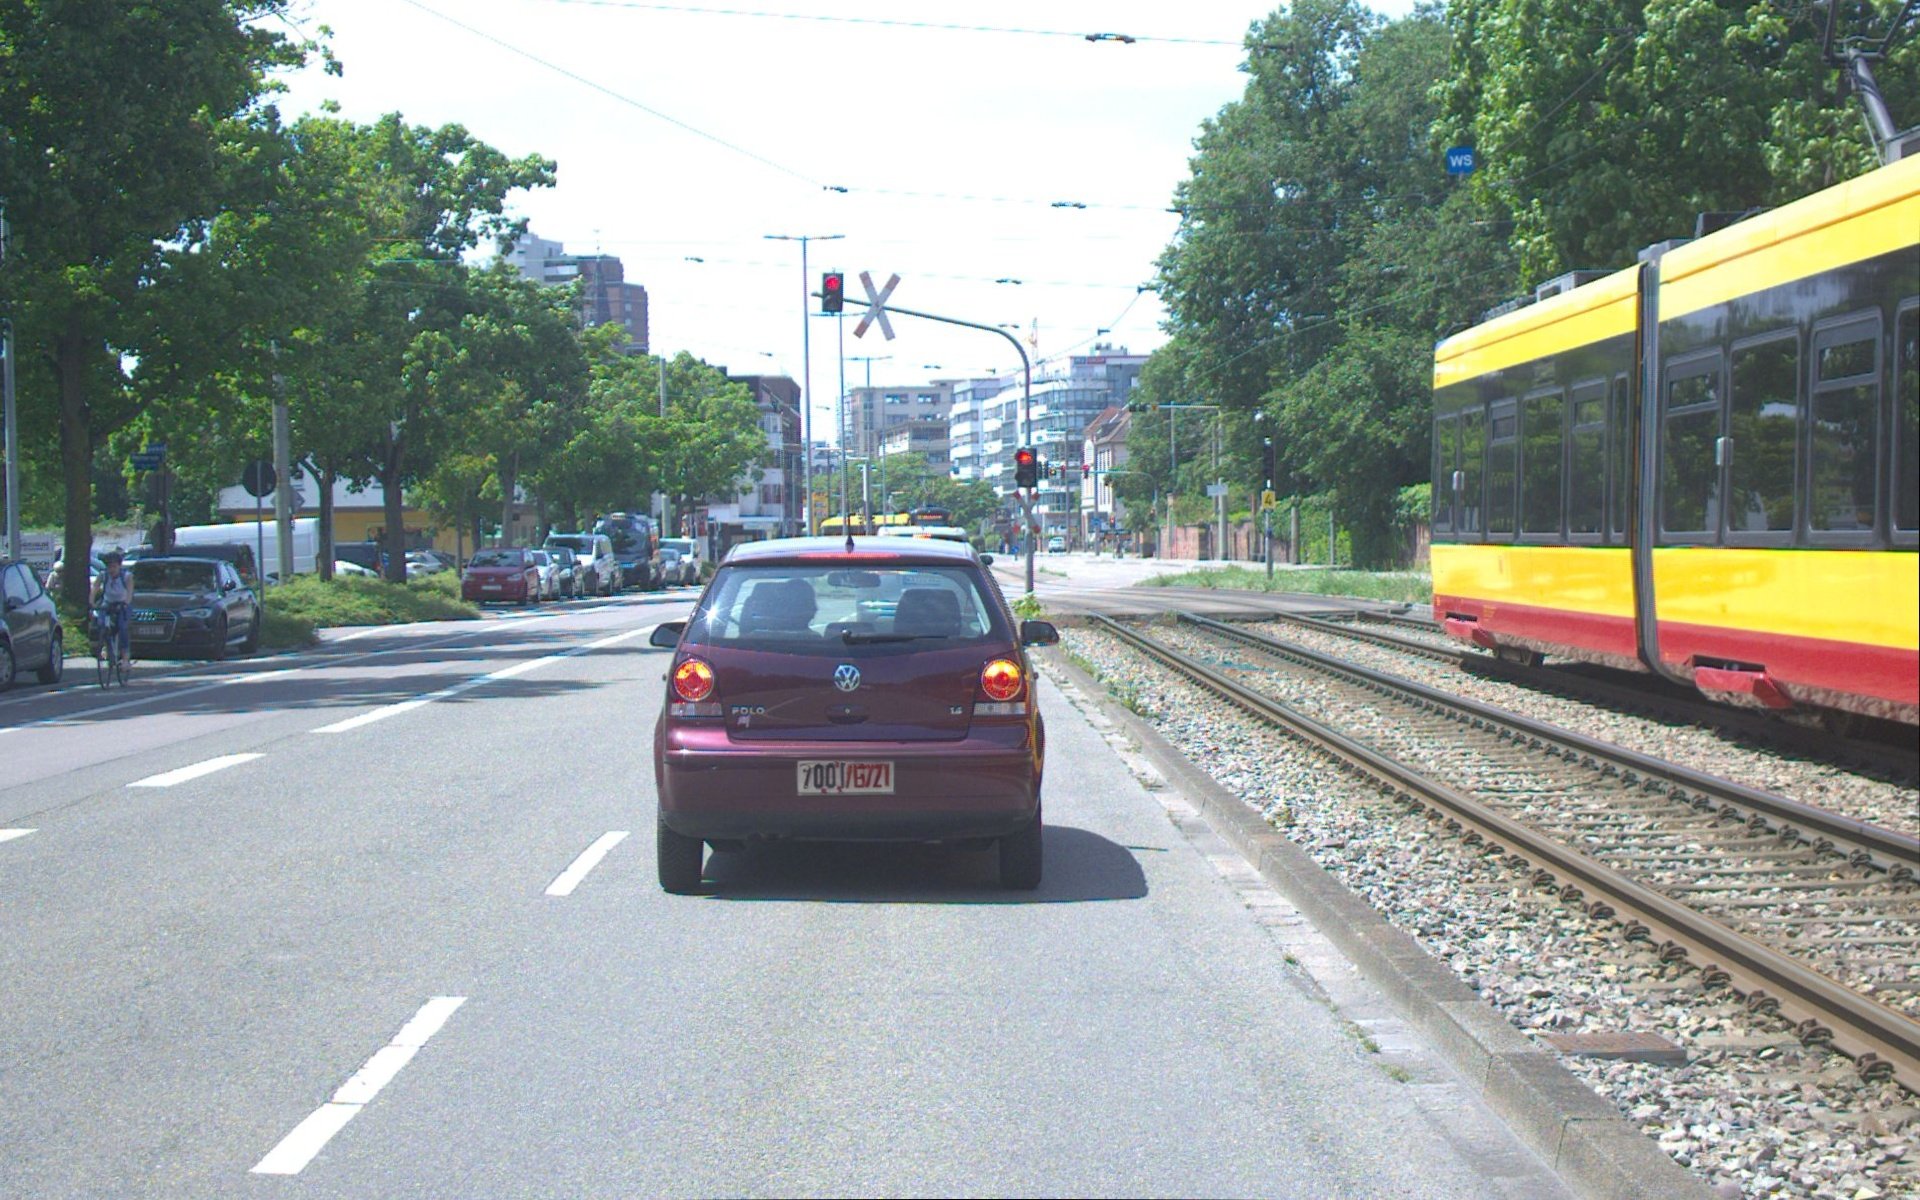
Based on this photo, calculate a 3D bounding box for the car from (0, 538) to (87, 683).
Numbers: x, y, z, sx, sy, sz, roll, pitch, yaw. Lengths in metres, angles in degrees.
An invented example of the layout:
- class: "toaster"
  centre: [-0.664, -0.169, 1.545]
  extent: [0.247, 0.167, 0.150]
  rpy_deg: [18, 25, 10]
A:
- class: "car"
  centre: [-11.376, 0.075, 39.240]
  extent: [1.818, 1.559, 4.181]
  rpy_deg: [1, 1, -1]

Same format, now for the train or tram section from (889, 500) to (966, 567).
- class: "train or tram section"
  centre: [-1.924, -3.802, 193.933]
  extent: [2.740, 3.597, 12.873]
  rpy_deg: [1, 1, -8]

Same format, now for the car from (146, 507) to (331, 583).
- class: "car"
  centre: [-22.017, -1.674, 105.071]
  extent: [5.097, 2.237, 2.378]
  rpy_deg: [1, 0, 1]

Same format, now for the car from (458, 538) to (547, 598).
- class: "car"
  centre: [-11.733, -0.820, 88.388]
  extent: [1.663, 1.491, 4.000]
  rpy_deg: [1, 0, 1]

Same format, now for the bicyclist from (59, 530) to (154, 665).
- class: "bicyclist"
  centre: [-9.515, -0.036, 38.364]
  extent: [0.735, 1.426, 1.125]
  rpy_deg: [-4, 1, -4]

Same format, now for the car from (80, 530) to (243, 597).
- class: "car"
  centre: [-21.912, -1.013, 94.452]
  extent: [3.987, 1.740, 1.998]
  rpy_deg: [-2, 1, -1]

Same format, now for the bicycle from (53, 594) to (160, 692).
- class: "bicycle"
  centre: [-9.502, 0.466, 38.355]
  extent: [0.701, 0.948, 2.243]
  rpy_deg: [-4, 2, -3]

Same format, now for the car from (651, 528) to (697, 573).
- class: "car"
  centre: [-11.793, -2.023, 141.495]
  extent: [1.774, 1.822, 4.001]
  rpy_deg: [1, 0, -6]

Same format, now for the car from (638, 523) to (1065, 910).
- class: "car"
  centre: [-0.481, 0.420, 15.589]
  extent: [1.672, 1.516, 4.000]
  rpy_deg: [1, 1, -1]

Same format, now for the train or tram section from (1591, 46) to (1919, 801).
- class: "train or tram section"
  centre: [6.351, -0.956, 19.850]
  extent: [3.028, 3.785, 13.090]
  rpy_deg: [-1, 1, 0]

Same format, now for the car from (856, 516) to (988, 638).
- class: "car"
  centre: [-0.570, -0.355, 48.666]
  extent: [1.777, 1.641, 4.000]
  rpy_deg: [1, 1, -2]

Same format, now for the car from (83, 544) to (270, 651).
- class: "car"
  centre: [-11.480, -0.069, 50.641]
  extent: [1.818, 1.471, 4.449]
  rpy_deg: [1, 1, -1]

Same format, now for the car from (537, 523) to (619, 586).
- class: "car"
  centre: [-11.644, -1.372, 105.172]
  extent: [1.783, 1.875, 4.785]
  rpy_deg: [1, 0, 2]

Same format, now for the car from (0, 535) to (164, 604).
- class: "car"
  centre: [-21.839, -0.737, 83.709]
  extent: [4.344, 1.579, 1.912]
  rpy_deg: [-1, 1, 5]

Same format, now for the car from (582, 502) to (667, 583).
- class: "car"
  centre: [-11.505, -1.940, 118.211]
  extent: [2.361, 2.683, 5.307]
  rpy_deg: [1, 0, 0]

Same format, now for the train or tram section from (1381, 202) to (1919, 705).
- class: "train or tram section"
  centre: [6.294, -1.254, 32.602]
  extent: [3.028, 3.785, 12.761]
  rpy_deg: [-1, 1, 0]
